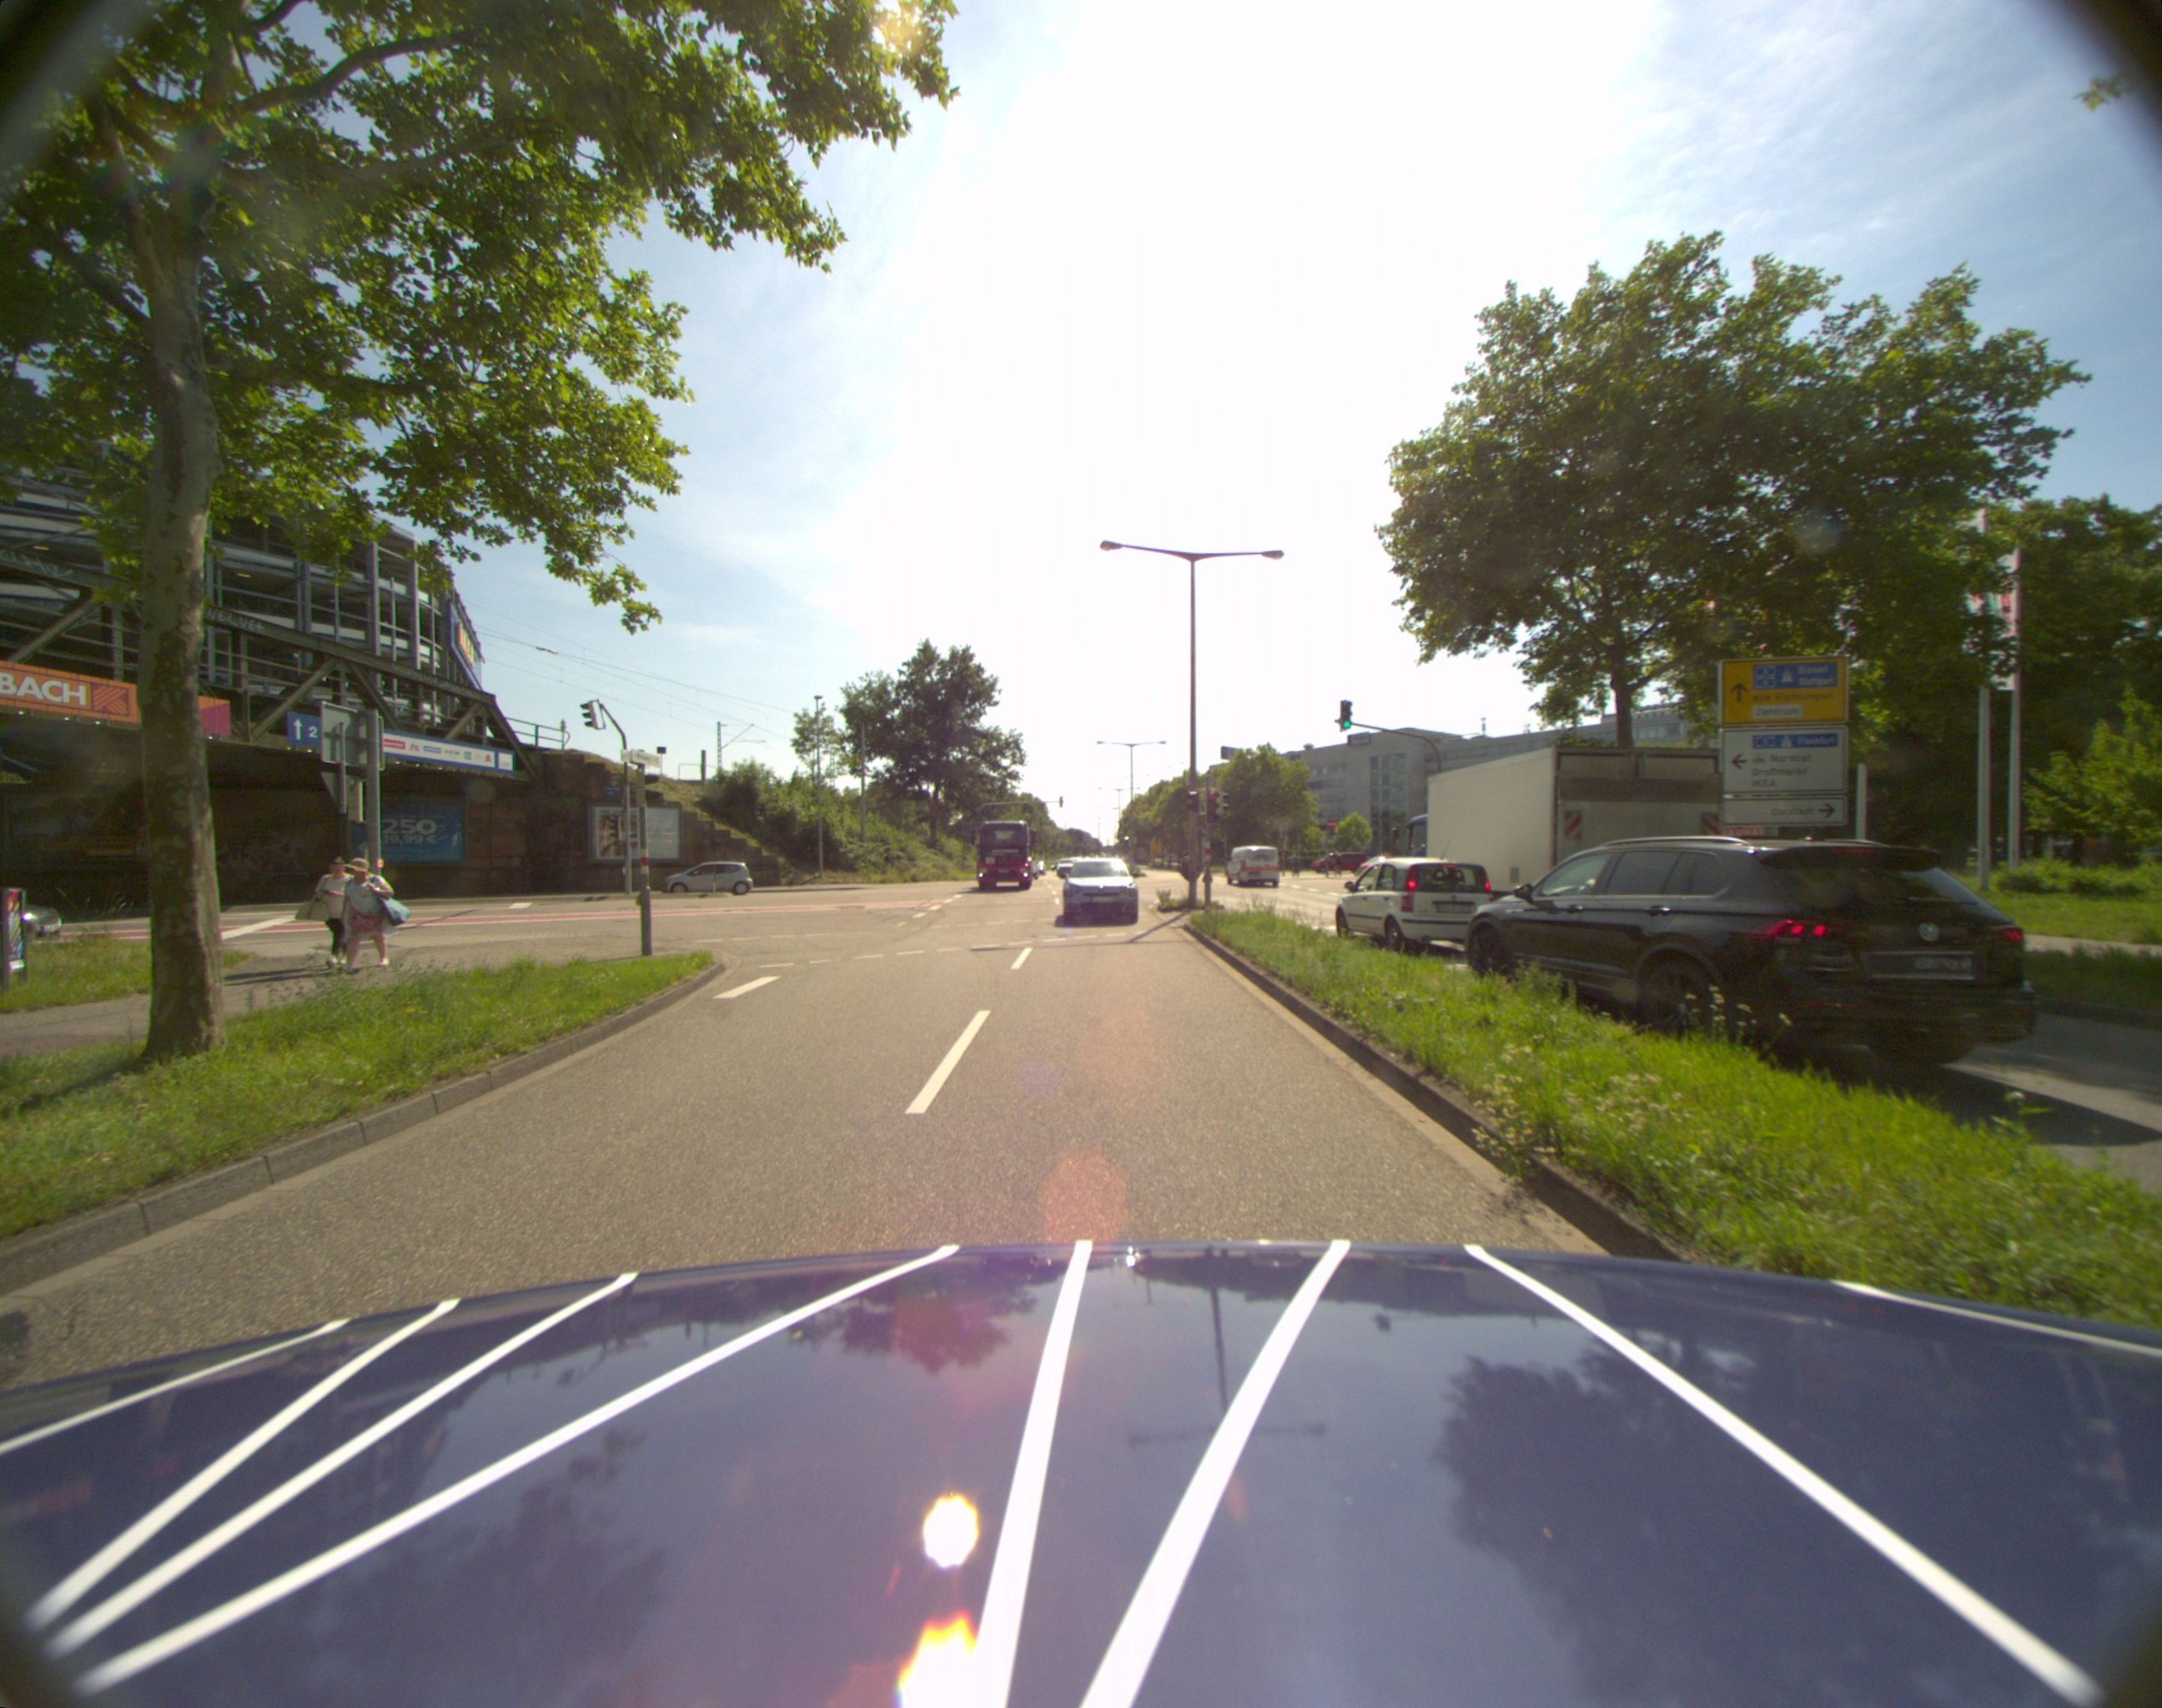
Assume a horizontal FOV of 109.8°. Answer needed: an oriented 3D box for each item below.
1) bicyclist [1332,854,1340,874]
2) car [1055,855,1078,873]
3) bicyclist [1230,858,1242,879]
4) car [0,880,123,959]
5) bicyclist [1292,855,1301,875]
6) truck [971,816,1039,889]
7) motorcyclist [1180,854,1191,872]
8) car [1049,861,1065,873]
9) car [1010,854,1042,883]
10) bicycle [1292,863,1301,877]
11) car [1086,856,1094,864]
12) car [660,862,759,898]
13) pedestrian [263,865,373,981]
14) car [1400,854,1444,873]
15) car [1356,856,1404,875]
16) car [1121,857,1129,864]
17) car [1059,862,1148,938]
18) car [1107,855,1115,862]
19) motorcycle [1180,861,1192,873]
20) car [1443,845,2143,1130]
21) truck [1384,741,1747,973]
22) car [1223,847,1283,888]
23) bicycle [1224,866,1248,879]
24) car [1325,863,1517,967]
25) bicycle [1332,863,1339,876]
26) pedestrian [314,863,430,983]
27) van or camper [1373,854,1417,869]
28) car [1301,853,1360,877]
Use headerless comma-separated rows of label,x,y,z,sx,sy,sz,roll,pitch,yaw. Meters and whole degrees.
bicyclist,18.387,0.731,54.831,0.528,1.406,0.610,-1,1,17
car,-1.309,0.911,70.562,1.826,1.521,4.548,-1,0,2
bicyclist,13.416,1.271,65.806,0.769,1.778,0.704,-1,0,-29
car,-21.661,1.268,14.043,4.509,1.400,1.995,-1,0,-35
bicyclist,15.464,0.782,54.481,0.528,1.483,0.610,-1,1,10
truck,-3.623,-0.049,37.833,2.776,3.247,7.481,-1,0,-2
motorcyclist,8.713,0.759,63.287,0.745,1.461,0.987,-1,0,1
car,-3.253,1.744,104.235,1.826,1.521,4.548,-1,0,2
car,-3.909,1.017,54.597,1.998,2.002,4.000,-1,0,1
bicycle,15.483,1.163,54.620,0.417,0.932,1.999,-1,0,10
car,2.412,1.597,194.303,1.998,2.002,4.000,0,0,1
car,-16.060,1.072,32.874,3.684,1.429,1.702,0,0,-32
pedestrian,-10.739,0.943,10.725,0.731,1.570,0.777,-1,0,0
car,30.493,0.824,67.907,4.008,1.689,1.994,0,0,-41
car,25.158,0.950,63.898,4.007,1.441,1.842,0,0,-35
car,10.000,1.406,173.229,1.653,1.505,3.736,-1,0,1
car,0.548,0.973,18.073,1.826,1.521,4.752,-1,0,2
car,7.839,1.217,201.797,1.998,2.002,4.000,-1,0,1
motorcycle,8.717,1.092,63.261,0.689,0.985,2.217,-1,0,1
car,5.237,0.747,6.755,1.824,1.637,4.693,0,1,1
truck,8.647,0.076,14.829,2.811,3.451,6.692,1,0,1
car,8.826,0.669,39.413,1.981,1.987,5.032,1,0,1
bicycle,13.408,1.619,65.795,2.169,1.058,0.524,-1,0,-28
car,5.489,0.899,12.794,1.597,1.468,3.729,0,0,1
bicycle,18.320,1.111,54.708,0.434,0.932,1.753,-1,0,16
pedestrian,-9.906,0.942,10.648,0.870,1.602,0.777,-1,0,0
van or camper,38.285,0.903,92.663,2.004,1.682,4.500,-1,0,-37
car,23.996,1.036,73.200,5.037,2.265,2.152,-1,0,1
